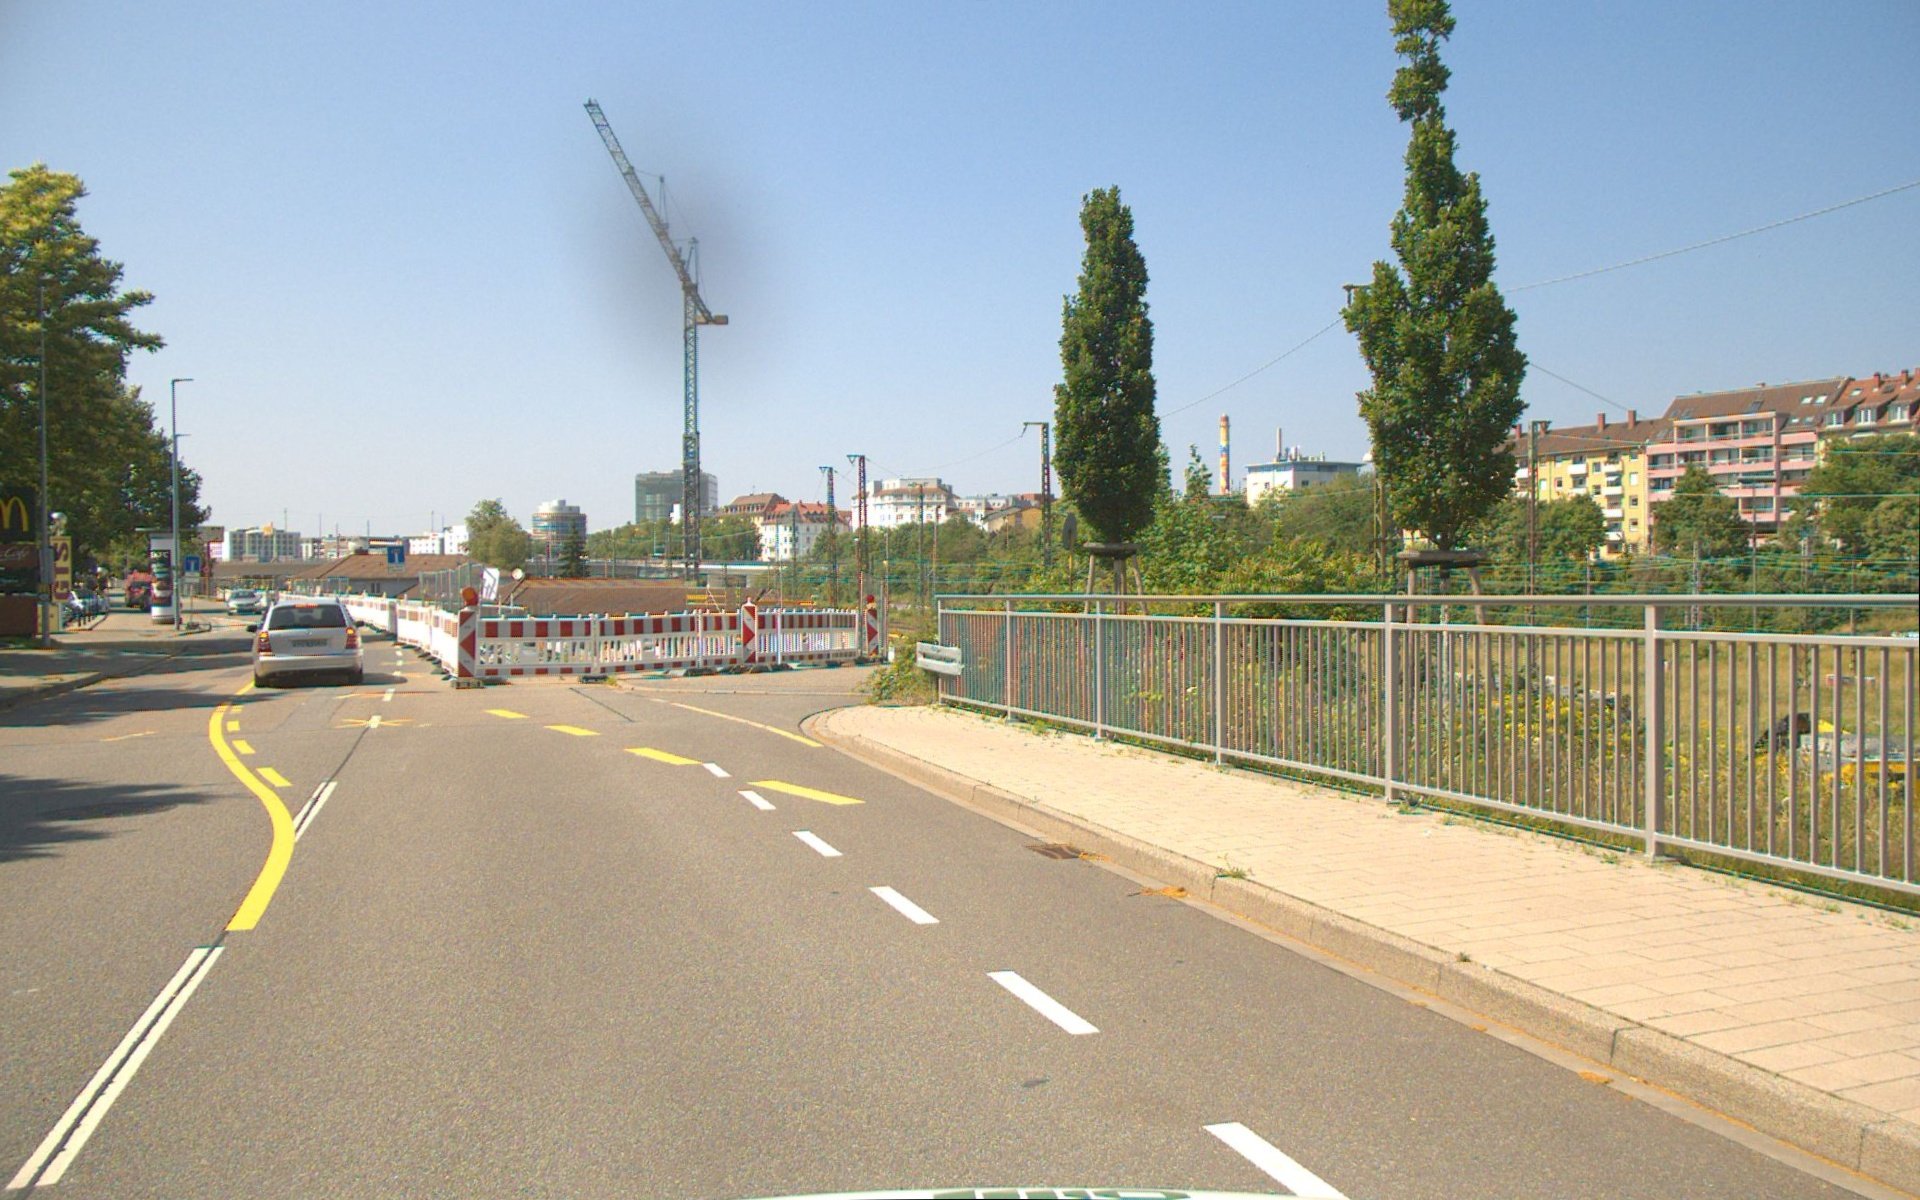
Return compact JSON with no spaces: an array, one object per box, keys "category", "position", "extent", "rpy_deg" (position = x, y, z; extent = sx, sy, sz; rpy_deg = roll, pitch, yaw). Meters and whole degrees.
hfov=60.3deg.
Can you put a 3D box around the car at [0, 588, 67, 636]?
[{"category":"car","position":[-39.291,0.559,68.326],"extent":[4.561,1.736,1.979],"rpy_deg":[-4,0,29]}]

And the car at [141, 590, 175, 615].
[{"category":"car","position":[-55.223,0.138,113.925],"extent":[1.844,1.524,4.003],"rpy_deg":[-2,2,-23]}]

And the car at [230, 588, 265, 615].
[{"category":"car","position":[-43.045,0.079,99.914],"extent":[1.657,1.519,4.567],"rpy_deg":[-2,1,-26]}]

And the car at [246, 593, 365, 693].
[{"category":"car","position":[-11.108,0.667,28.277],"extent":[1.684,1.428,4.361],"rpy_deg":[-3,2,-20]}]
